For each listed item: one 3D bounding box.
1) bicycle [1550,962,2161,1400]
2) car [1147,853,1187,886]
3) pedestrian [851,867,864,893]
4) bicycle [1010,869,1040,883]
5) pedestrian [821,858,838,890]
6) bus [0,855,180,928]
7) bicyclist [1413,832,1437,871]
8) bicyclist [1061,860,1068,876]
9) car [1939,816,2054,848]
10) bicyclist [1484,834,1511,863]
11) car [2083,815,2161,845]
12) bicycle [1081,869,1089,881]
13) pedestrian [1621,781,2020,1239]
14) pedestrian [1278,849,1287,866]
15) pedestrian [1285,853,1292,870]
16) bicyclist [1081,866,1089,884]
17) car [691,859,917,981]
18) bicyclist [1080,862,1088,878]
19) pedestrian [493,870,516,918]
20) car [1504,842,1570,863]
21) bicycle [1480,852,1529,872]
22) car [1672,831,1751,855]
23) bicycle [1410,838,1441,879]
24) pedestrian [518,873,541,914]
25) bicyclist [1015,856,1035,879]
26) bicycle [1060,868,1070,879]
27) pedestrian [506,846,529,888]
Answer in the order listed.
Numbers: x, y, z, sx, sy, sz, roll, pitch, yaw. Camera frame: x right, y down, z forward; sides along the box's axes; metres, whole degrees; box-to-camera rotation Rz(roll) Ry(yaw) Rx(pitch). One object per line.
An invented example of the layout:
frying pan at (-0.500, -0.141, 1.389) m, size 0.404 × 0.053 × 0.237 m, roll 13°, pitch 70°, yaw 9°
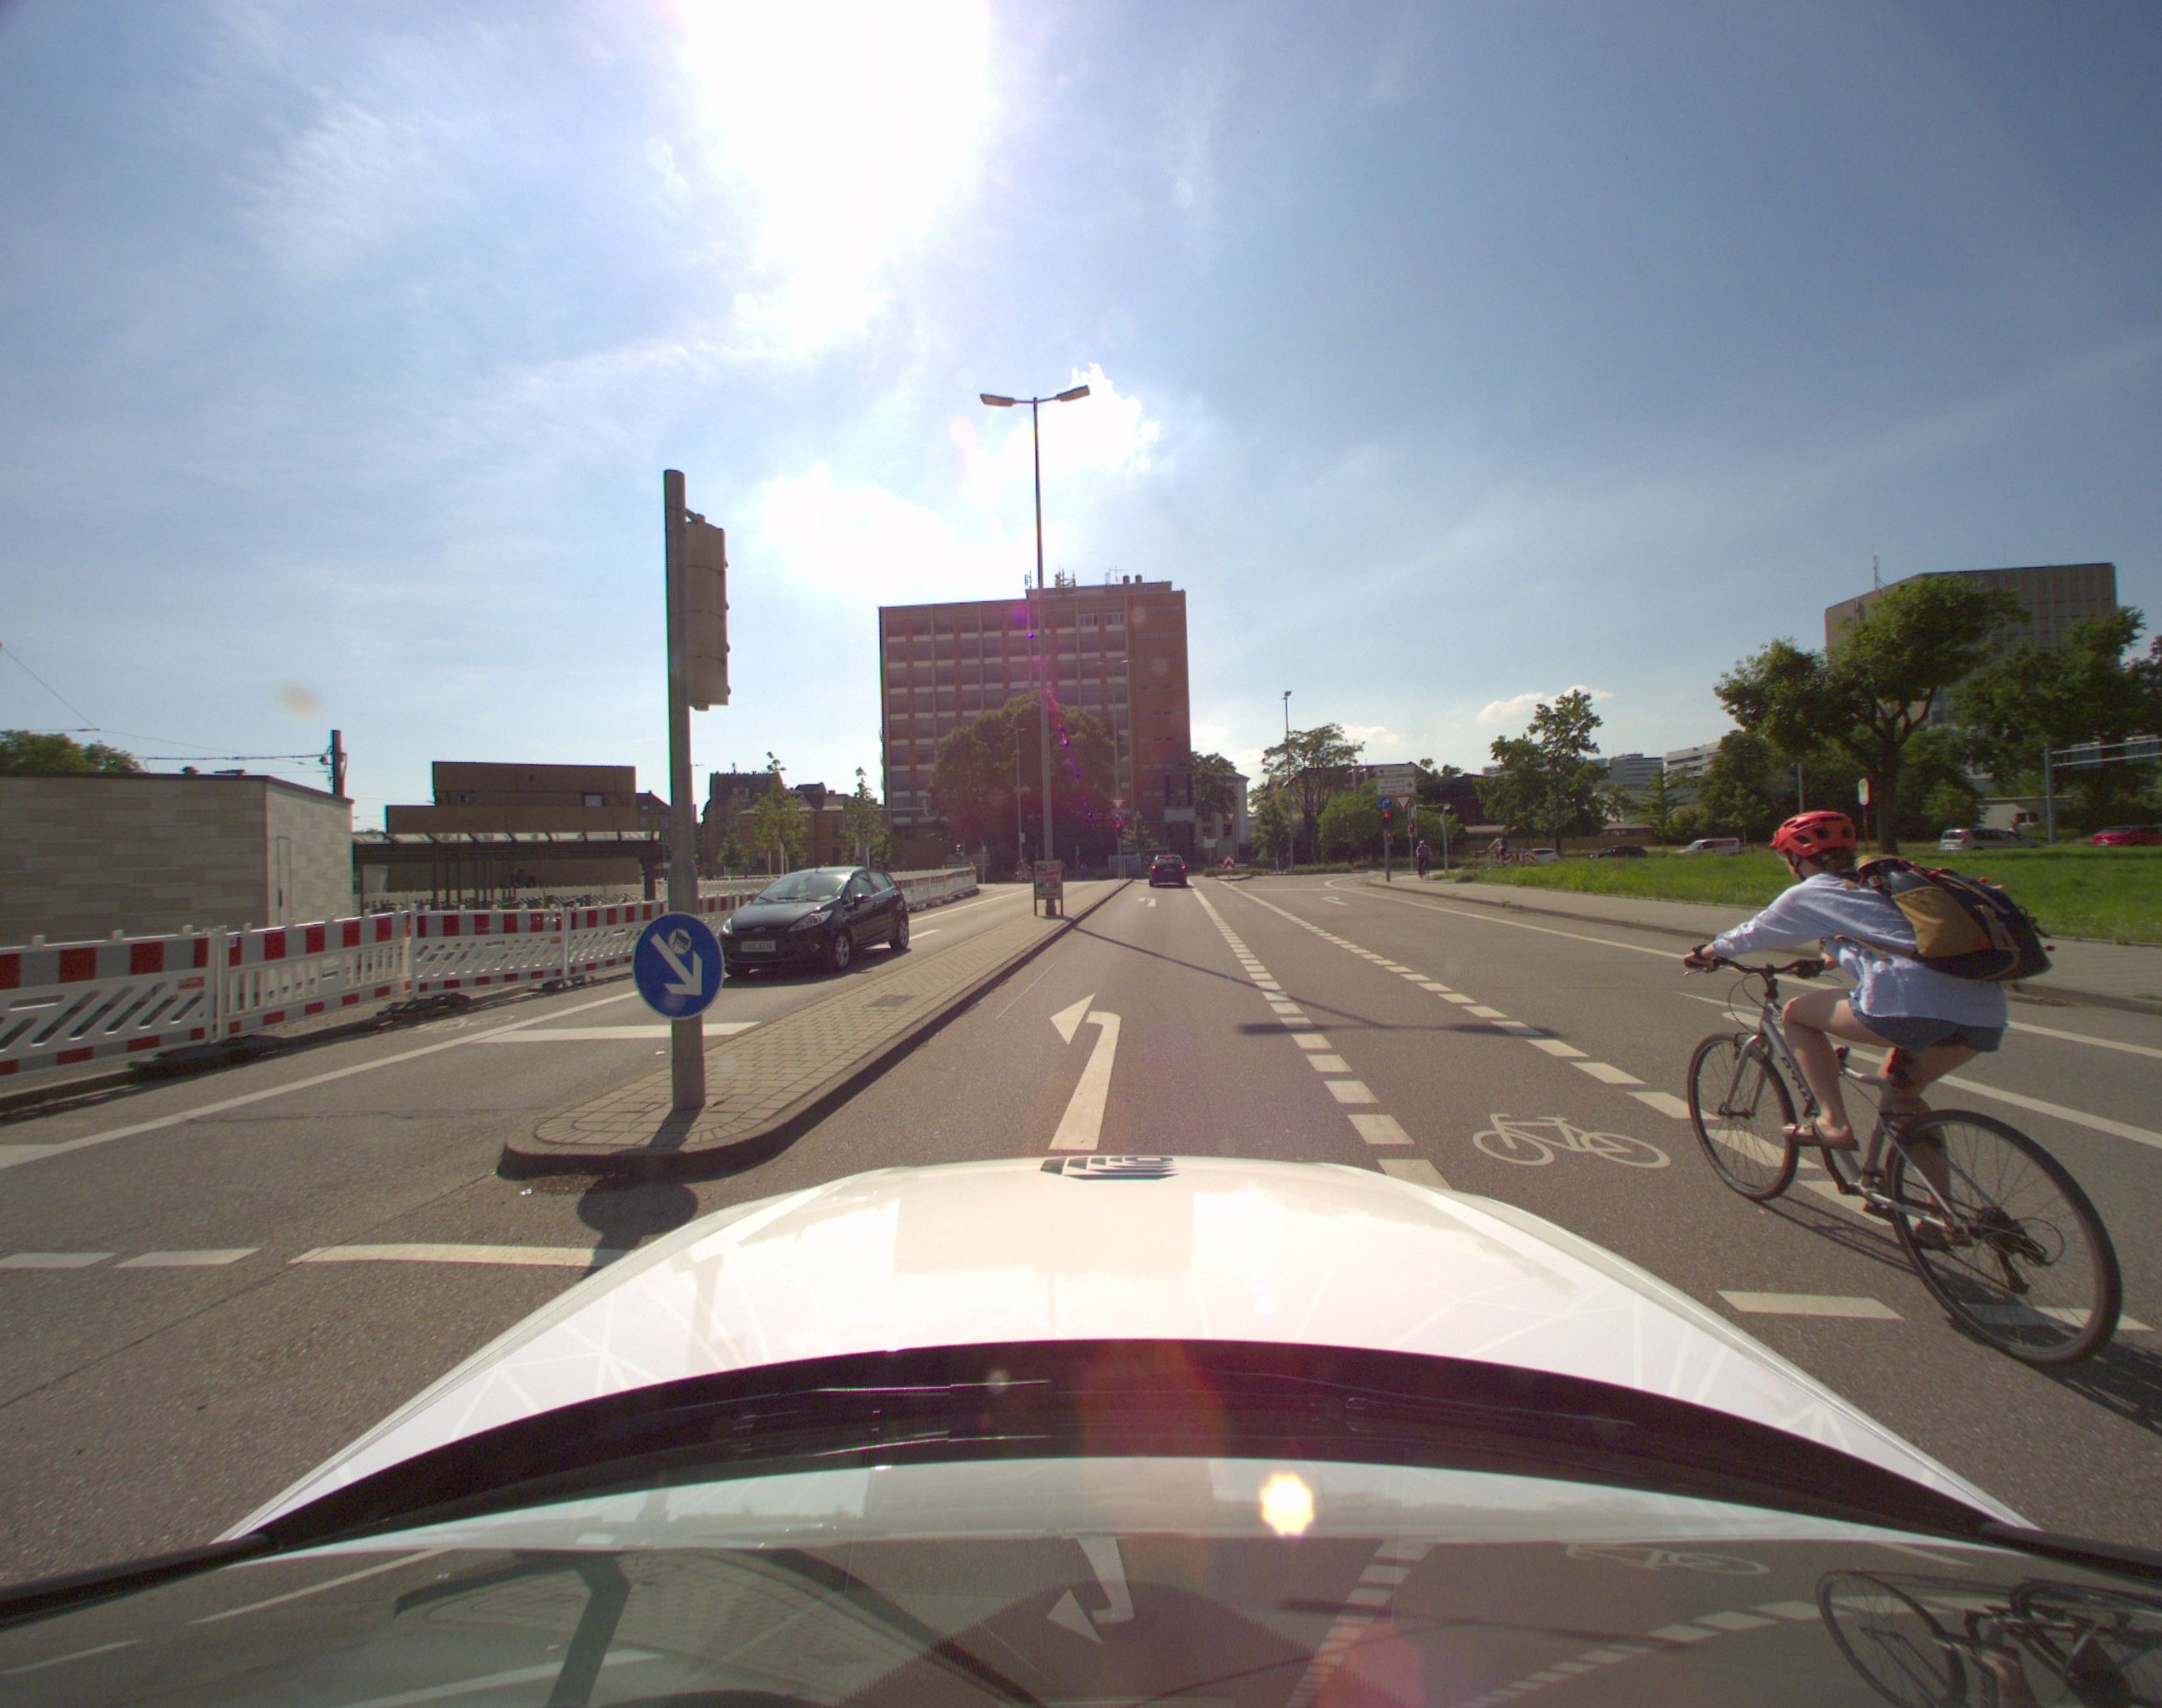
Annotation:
bicycle at (2.746, 1.026, 3.242) m, size 0.594 × 0.931 × 2.028 m, roll -1°, pitch -1°, yaw 1°
car at (4.053, 0.707, 38.172) m, size 1.770 × 1.443 × 3.825 m, roll 0°, pitch 0°, yaw 6°
pedestrian at (-12.985, 1.519, 47.366) m, size 0.631 × 1.491 × 0.614 m, roll -2°, pitch -1°, yaw -10°
bicycle at (-3.717, 1.459, 54.123) m, size 1.874 × 0.792 × 0.563 m, roll -2°, pitch 1°, yaw 18°
pedestrian at (-14.159, 1.134, 45.856) m, size 0.736 × 1.752 × 1.107 m, roll -2°, pitch -3°, yaw -10°
bus at (-51.899, 1.869, 42.249) m, size 2.870 × 3.281 × 12.539 m, roll -2°, pitch -1°, yaw -29°
bicyclist at (15.298, -0.113, 36.233) m, size 0.675 × 1.655 × 0.920 m, roll -3°, pitch -1°, yaw 6°
bicyclist at (-1.592, 1.332, 77.683) m, size 0.537 × 1.417 × 1.031 m, roll -3°, pitch -2°, yaw 4°
car at (49.486, -1.181, 44.081) m, size 3.967 × 1.508 × 1.755 m, roll -3°, pitch 0°, yaw 6°
bicyclist at (21.463, -0.267, 41.968) m, size 0.498 × 1.470 × 1.130 m, roll 1°, pitch -2°, yaw -37°
car at (56.068, -1.250, 42.954) m, size 3.967 × 1.508 × 1.755 m, roll 1°, pitch 0°, yaw 6°
bicycle at (0.343, 1.949, 75.893) m, size 0.616 × 0.961 × 1.968 m, roll -5°, pitch -1°, yaw 1°
pedestrian at (2.730, 0.504, 3.144) m, size 0.581 × 1.466 × 1.013 m, roll -1°, pitch -1°, yaw -1°
pedestrian at (23.139, 0.415, 93.438) m, size 0.787 × 1.874 × 0.642 m, roll -4°, pitch 0°, yaw 19°
pedestrian at (23.508, 0.894, 92.266) m, size 0.633 × 1.874 × 0.798 m, roll -4°, pitch 0°, yaw 6°
bicyclist at (0.343, 1.949, 75.893) m, size 0.616 × 1.582 × 1.014 m, roll -5°, pitch -1°, yaw 1°
car at (-3.926, 0.855, 12.271) m, size 1.658 × 1.451 × 3.825 m, roll -4°, pitch 0°, yaw 6°
bicyclist at (0.306, 1.476, 75.899) m, size 0.616 × 1.443 × 0.921 m, roll -5°, pitch -1°, yaw 1°
pedestrian at (-23.644, 1.622, 33.400) m, size 0.436 × 1.915 × 0.610 m, roll -3°, pitch -1°, yaw 38°
car at (35.345, -0.109, 63.150) m, size 3.967 × 1.464 × 2.003 m, roll -2°, pitch -2°, yaw 5°
bicycle at (21.690, 0.421, 41.747) m, size 0.678 × 0.916 × 2.144 m, roll -2°, pitch -1°, yaw -37°
car at (47.441, -0.832, 61.364) m, size 4.289 × 1.569 × 1.913 m, roll -2°, pitch 0°, yaw 5°
bicycle at (15.302, 0.186, 36.211) m, size 0.674 × 1.765 × 1.814 m, roll -3°, pitch 0°, yaw 6°
pedestrian at (-23.476, 1.683, 34.671) m, size 0.533 × 1.708 × 0.573 m, roll -3°, pitch -1°, yaw 26°
bicyclist at (-3.716, 0.923, 54.138) m, size 1.156 × 1.474 × 0.567 m, roll -3°, pitch -1°, yaw 18°
bicycle at (-1.551, 1.877, 78.142) m, size 0.701 × 0.977 × 2.033 m, roll -3°, pitch 0°, yaw 4°
pedestrian at (-24.251, 0.542, 35.058) m, size 0.538 × 1.778 × 0.573 m, roll -3°, pitch -1°, yaw 26°
